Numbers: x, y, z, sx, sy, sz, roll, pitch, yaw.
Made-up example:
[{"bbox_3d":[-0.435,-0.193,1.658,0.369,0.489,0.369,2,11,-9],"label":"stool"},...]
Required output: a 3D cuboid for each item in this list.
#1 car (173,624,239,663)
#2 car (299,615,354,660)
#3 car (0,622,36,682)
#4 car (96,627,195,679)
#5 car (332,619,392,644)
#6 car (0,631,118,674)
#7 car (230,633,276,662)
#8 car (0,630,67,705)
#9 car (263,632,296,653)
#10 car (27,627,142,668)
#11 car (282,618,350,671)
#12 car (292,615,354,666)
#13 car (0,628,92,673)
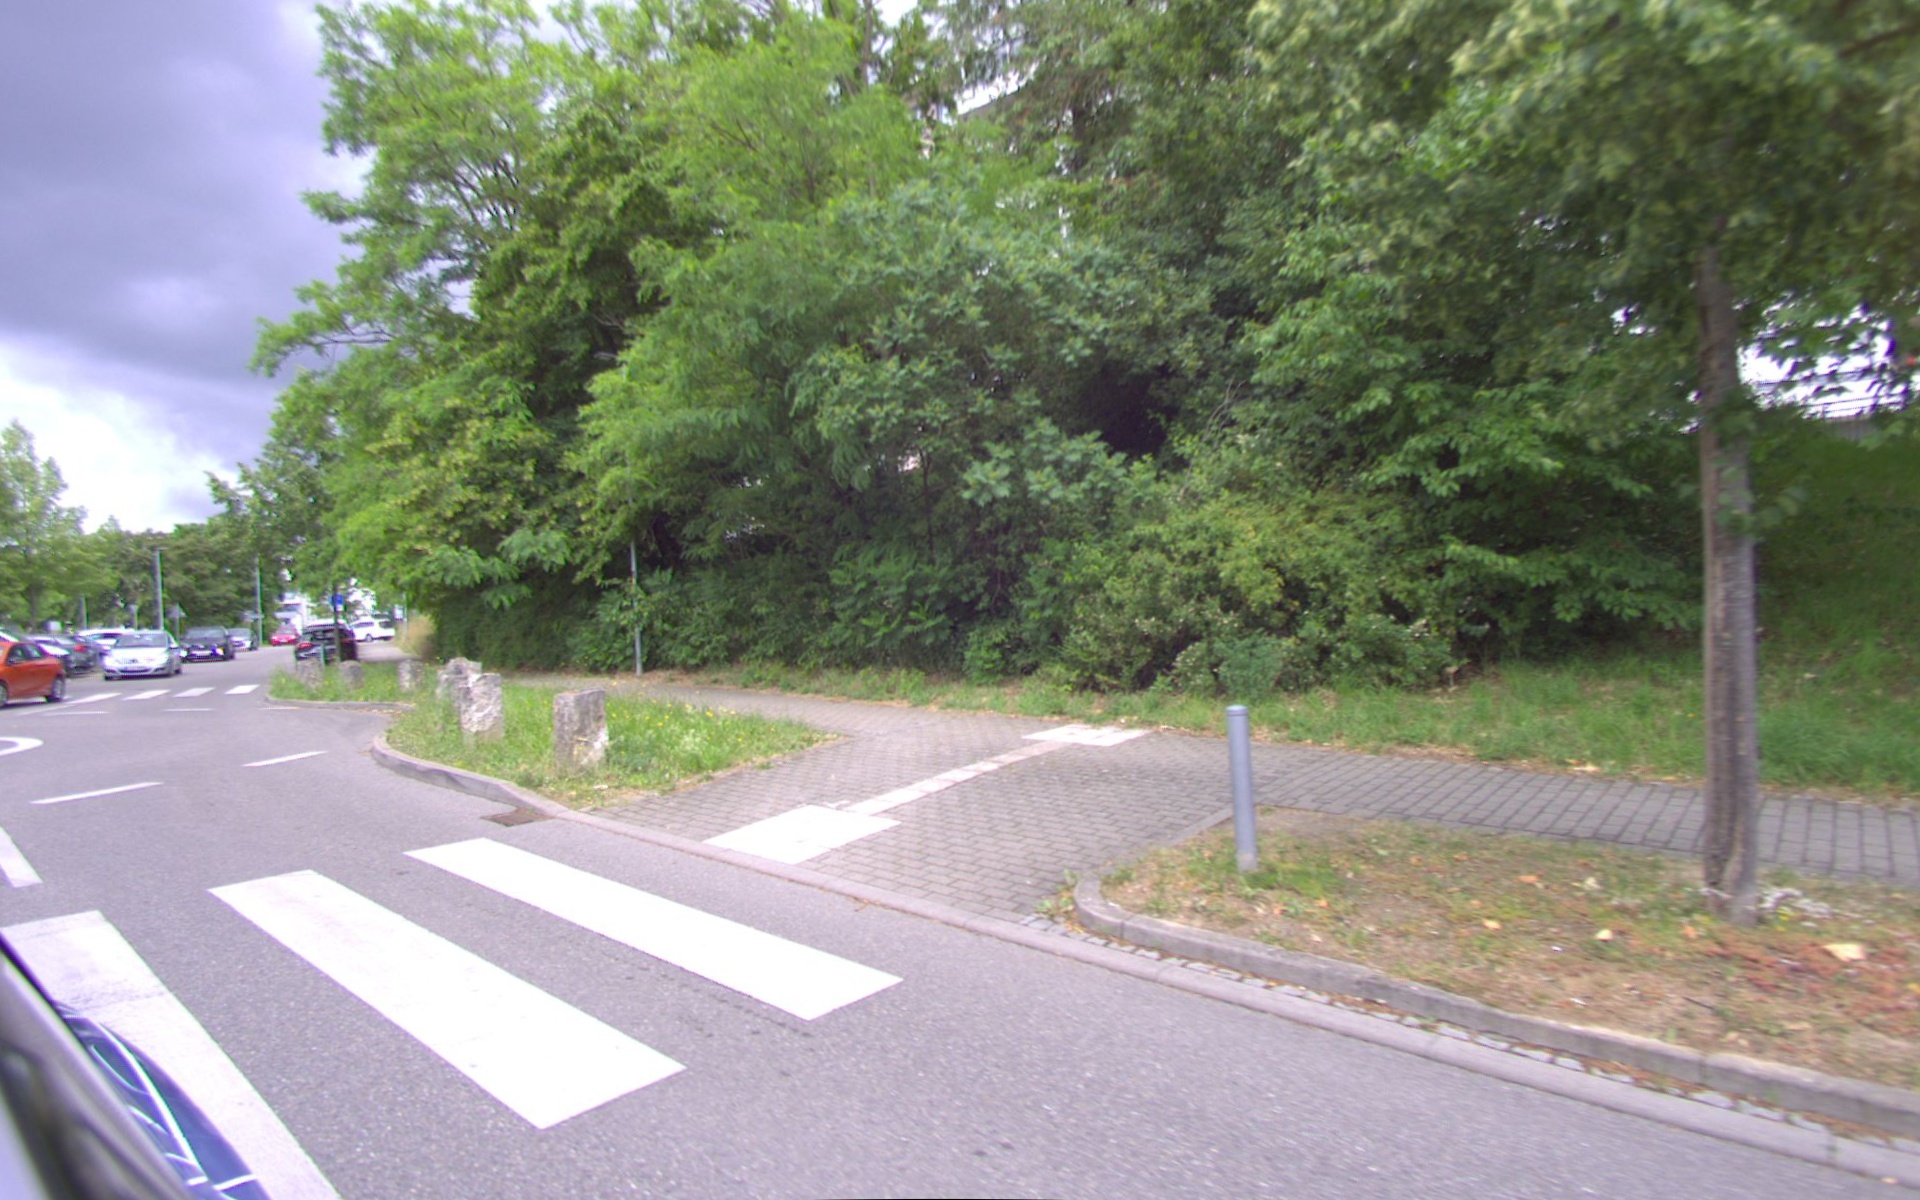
[{"bbox_3d":[-35.067,1.990,47.173,1.730,1.628,4.013,-3,0,-26],"label":"car"},{"bbox_3d":[-27.276,1.607,43.625,1.783,1.676,4.449,-6,1,-31],"label":"car"},{"bbox_3d":[-31.773,1.653,31.116,4.708,1.845,1.848,0,-1,-32],"label":"car"},{"bbox_3d":[-27.656,1.757,34.502,1.730,1.527,4.013,-3,0,-26],"label":"car"},{"bbox_3d":[-46.803,2.457,79.251,3.961,1.652,1.665,-3,0,14],"label":"car"},{"bbox_3d":[-37.070,2.116,40.869,4.513,1.503,1.957,-2,0,-34],"label":"car"},{"bbox_3d":[-44.392,2.966,63.634,1.730,1.628,4.013,-3,0,-26],"label":"car"},{"bbox_3d":[-20.960,1.454,21.463,1.730,1.527,4.013,-3,0,-22],"label":"car"},{"bbox_3d":[-56.499,3.520,84.093,1.730,1.628,4.013,-3,0,-26],"label":"car"},{"bbox_3d":[-39.475,2.128,45.738,3.619,1.659,1.857,-1,-1,-29],"label":"car"},{"bbox_3d":[-21.418,1.451,33.781,1.667,1.475,4.469,-6,1,-31],"label":"car"},{"bbox_3d":[-24.255,1.493,38.616,1.775,1.627,4.491,-6,2,-31],"label":"car"},{"bbox_3d":[-33.808,1.819,36.326,3.772,1.531,1.917,0,-1,-32],"label":"car"}]
